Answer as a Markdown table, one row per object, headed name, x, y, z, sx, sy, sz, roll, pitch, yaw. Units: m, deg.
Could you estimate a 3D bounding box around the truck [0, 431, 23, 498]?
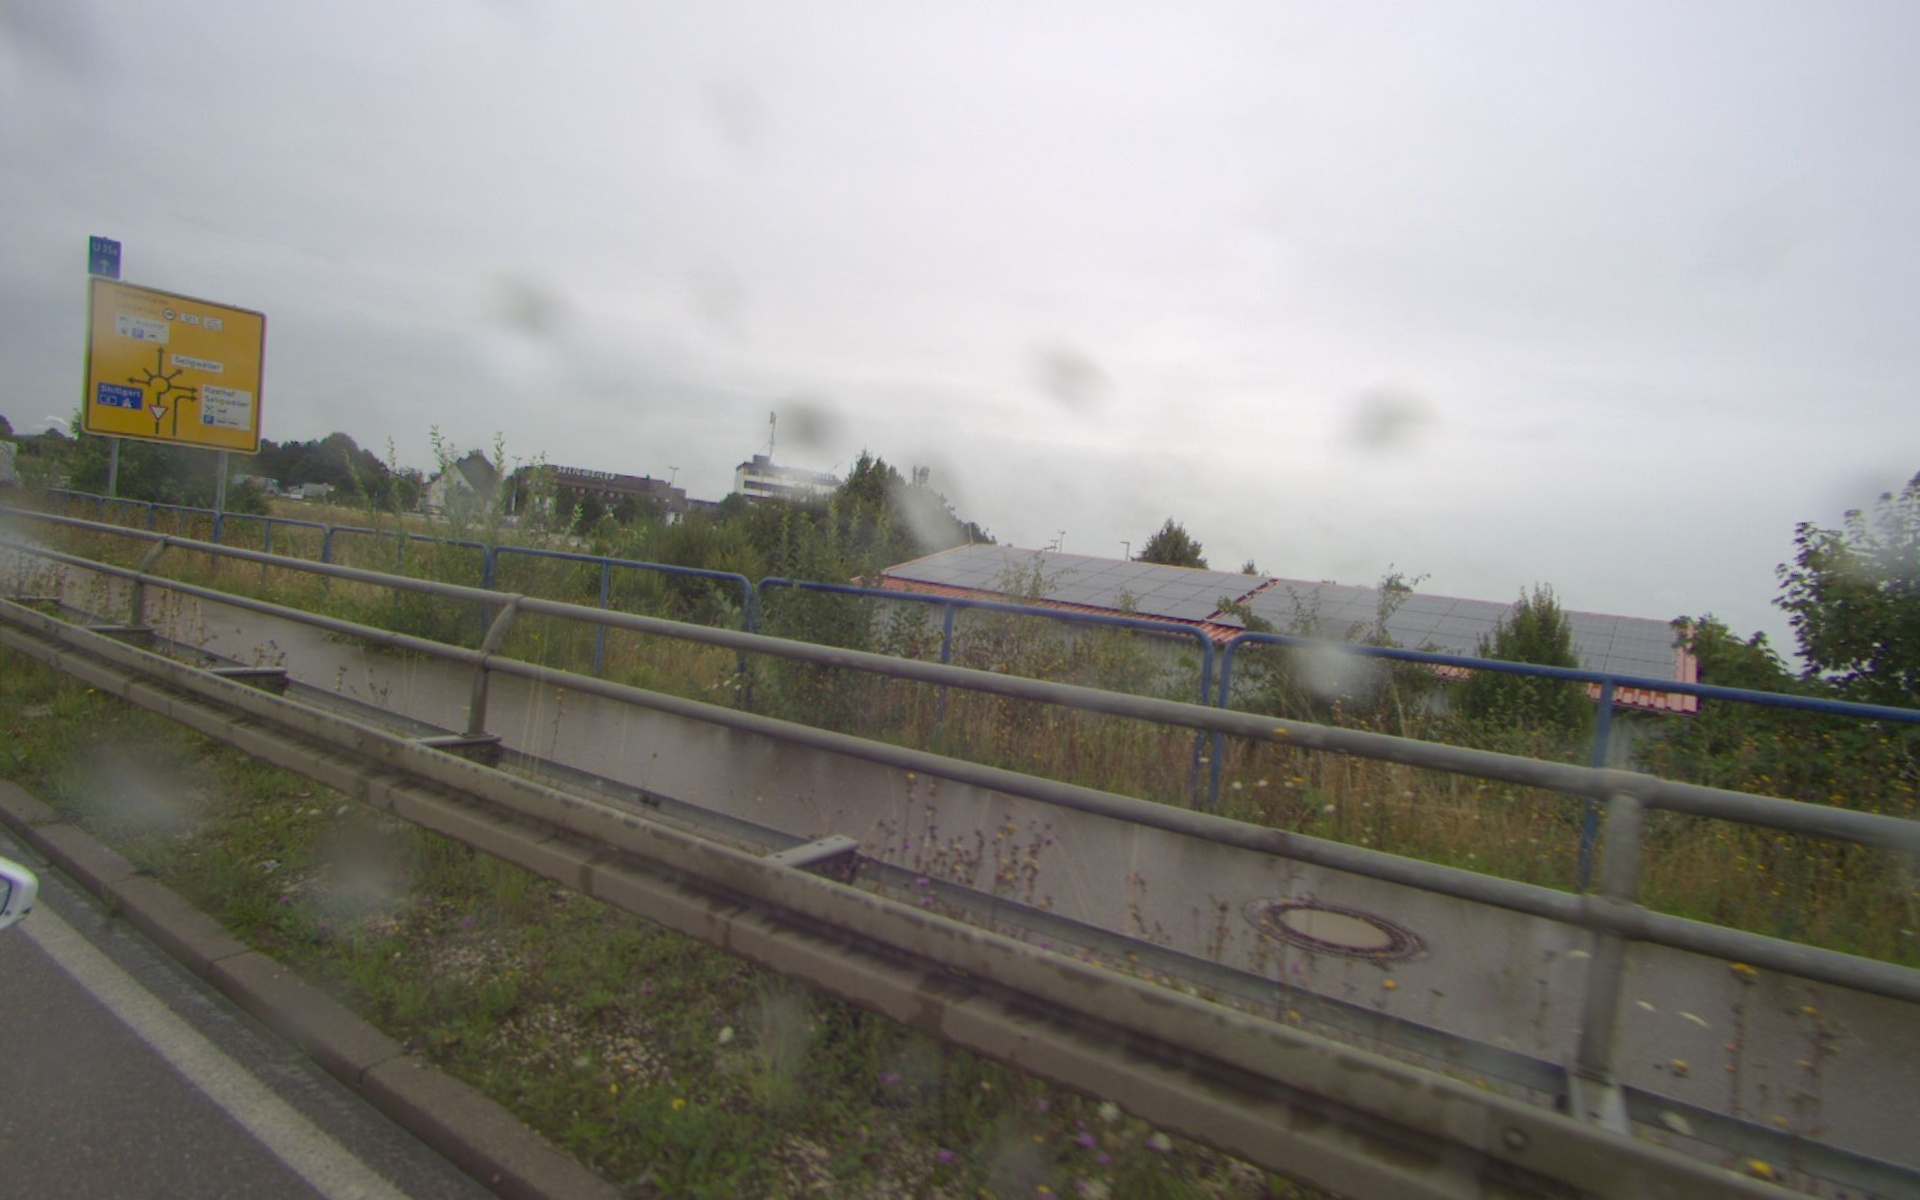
| name | x | y | z | sx | sy | sz | roll | pitch | yaw |
| --- | --- | --- | --- | --- | --- | --- | --- | --- | --- |
| truck | -62.895 | -8.891 | 64.096 | 3.184 | 3.968 | 8.656 | 8 | -1 | -35 |
